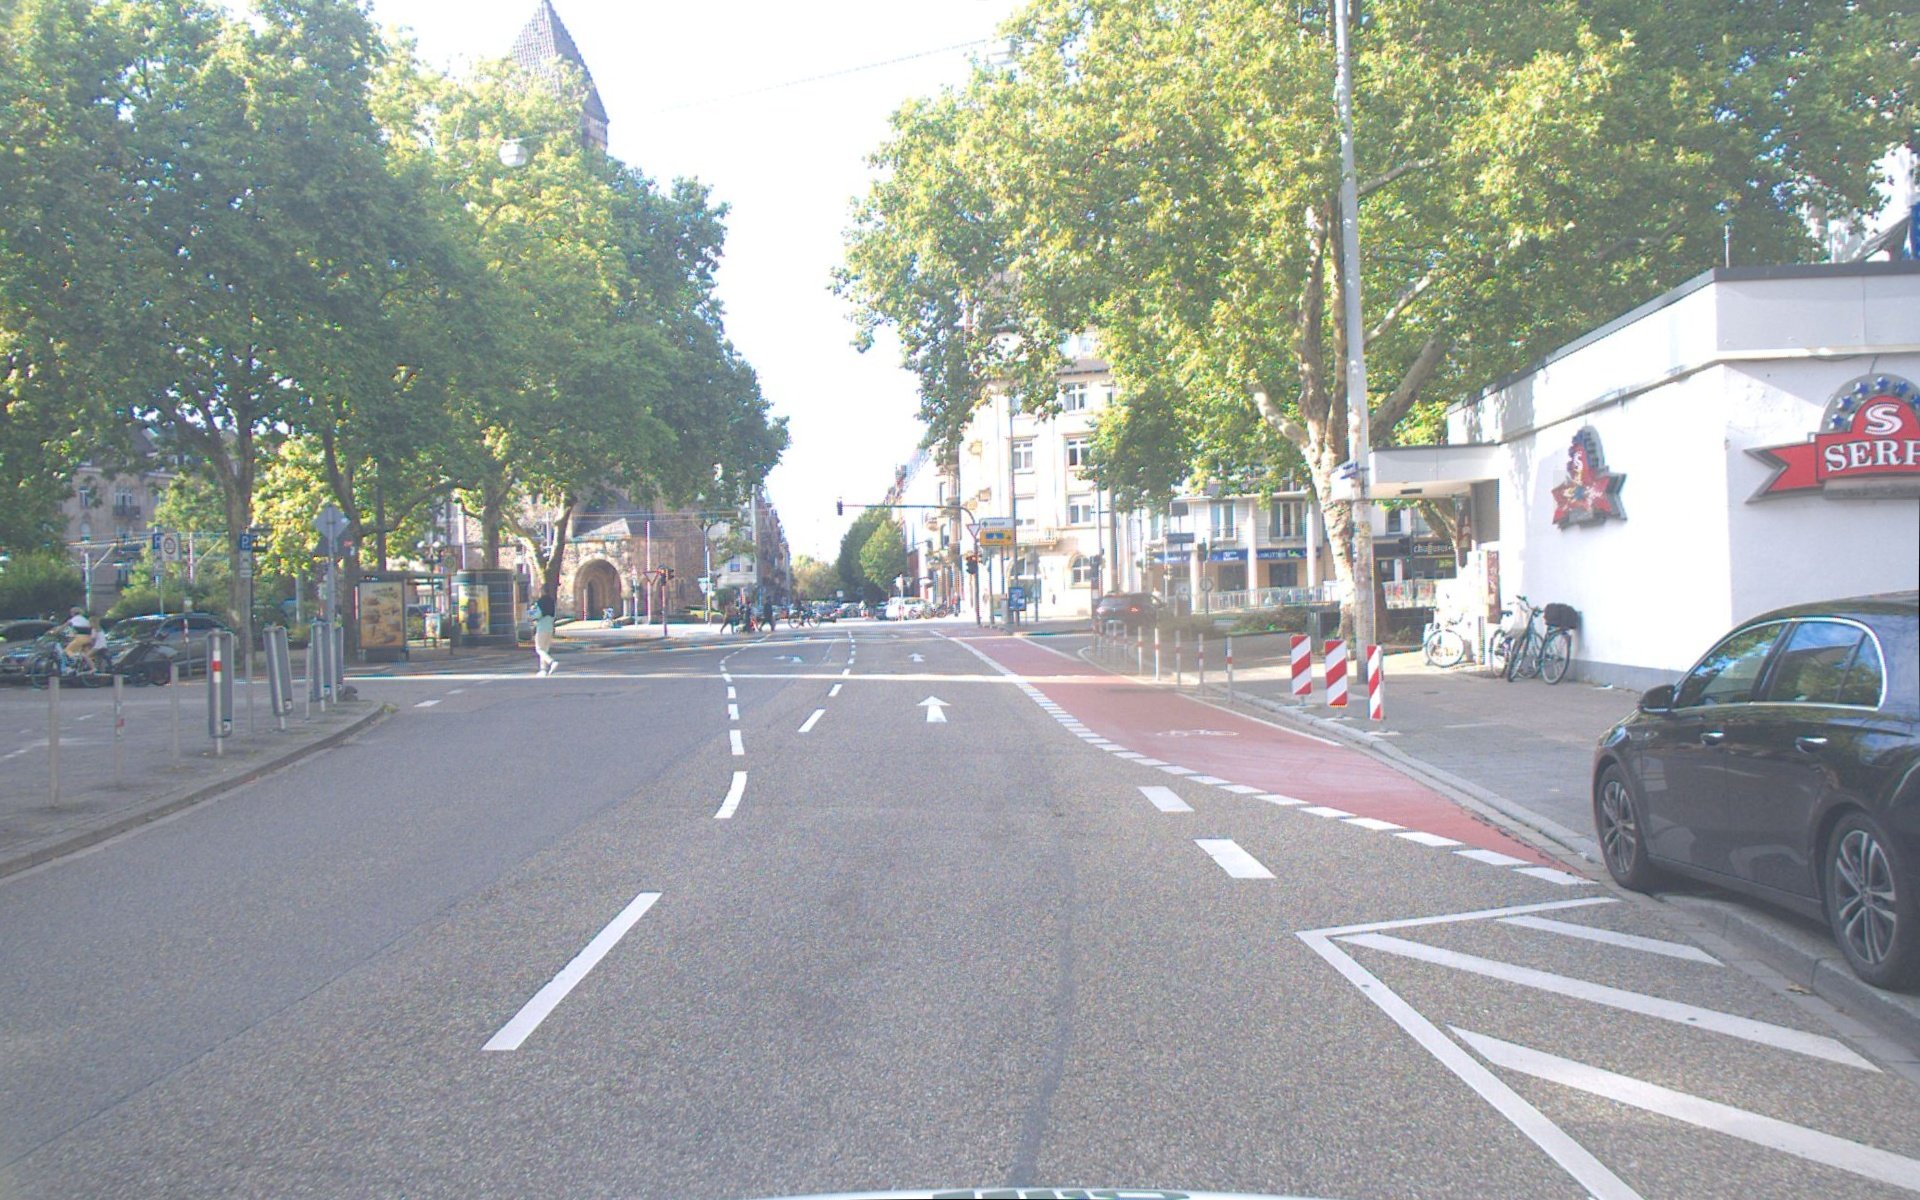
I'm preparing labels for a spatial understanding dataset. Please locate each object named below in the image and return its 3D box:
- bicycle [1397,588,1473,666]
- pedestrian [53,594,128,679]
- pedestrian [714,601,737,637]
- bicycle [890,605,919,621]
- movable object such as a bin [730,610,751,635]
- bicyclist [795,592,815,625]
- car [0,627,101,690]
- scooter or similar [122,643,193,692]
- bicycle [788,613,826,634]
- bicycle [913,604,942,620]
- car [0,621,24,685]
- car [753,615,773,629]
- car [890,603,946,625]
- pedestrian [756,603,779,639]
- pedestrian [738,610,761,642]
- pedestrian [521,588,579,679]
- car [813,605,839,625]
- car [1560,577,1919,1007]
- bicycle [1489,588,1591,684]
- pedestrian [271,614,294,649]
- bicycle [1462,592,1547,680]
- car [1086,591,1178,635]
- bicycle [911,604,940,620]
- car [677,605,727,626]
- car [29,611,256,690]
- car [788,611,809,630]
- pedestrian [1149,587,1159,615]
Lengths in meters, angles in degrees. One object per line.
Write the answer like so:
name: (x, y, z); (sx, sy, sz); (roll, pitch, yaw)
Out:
bicycle: (8.106, 0.463, 28.309); (0.698, 1.226, 1.815); (-5, -1, 1)
pedestrian: (-17.720, 0.743, 33.729); (1.051, 1.683, 0.816); (-1, 0, -2)
pedestrian: (-11.104, 0.913, 78.265); (0.798, 1.657, 0.605); (-2, 0, 20)
bicycle: (-3.970, 0.930, 119.080); (1.988, 1.101, 0.618); (-2, 0, -14)
movable object such as a bin: (-10.353, 1.062, 78.014); (0.820, 1.143, 0.575); (-2, 0, 19)
bicyclist: (-7.647, 0.419, 81.622); (0.762, 1.607, 0.625); (-2, 0, 21)
car: (-23.412, 1.456, 40.102); (1.632, 1.402, 4.841); (-2, 0, 17)
scooter or similar: (-16.323, 1.359, 33.665); (0.989, 0.939, 0.809); (-2, 0, 7)
bicycle: (-7.550, 1.162, 81.579); (1.792, 0.972, 0.573); (-2, 0, 22)
bicycle: (-2.343, 0.886, 119.175); (1.988, 1.101, 0.618); (-2, 0, -14)
car: (-25.902, 1.416, 41.448); (1.643, 1.645, 4.279); (-2, 0, 17)
car: (-18.330, 2.033, 154.080); (1.519, 1.251, 3.586); (-1, 0, -2)
car: (-3.116, 1.009, 121.469); (3.912, 1.445, 1.996); (-2, 0, -8)
pedestrian: (-9.104, 0.997, 78.110); (0.764, 1.691, 0.779); (-2, 0, 18)
pedestrian: (-9.766, 1.192, 76.849); (0.765, 1.457, 0.731); (-2, 0, 20)
pedestrian: (-8.222, 0.660, 33.156); (1.057, 1.784, 0.915); (-1, 0, -17)
car: (-10.431, 1.158, 128.824); (1.911, 1.396, 3.996); (-2, 0, -5)
car: (4.217, 0.640, 7.280); (1.724, 1.436, 4.234); (-3, 0, 3)
bicycle: (7.928, 0.474, 22.677); (0.753, 1.227, 1.816); (-3, 0, 2)
pedestrian: (-26.235, 1.219, 64.040); (0.713, 1.311, 0.810); (1, -1, -30)
bicycle: (8.041, 0.513, 24.501); (0.696, 1.227, 1.771); (-1, 0, 2)
car: (6.000, 0.436, 57.339); (1.718, 1.438, 3.993); (-1, 0, 29)
bicycle: (-2.500, 0.862, 119.810); (1.988, 1.101, 0.628); (-2, 0, -14)
car: (-22.442, 1.338, 144.183); (3.969, 1.624, 1.839); (-2, 0, -44)
car: (-18.961, 1.125, 38.666); (2.186, 1.613, 4.979); (-2, 0, 10)
car: (-17.682, 2.220, 181.416); (1.953, 2.049, 3.999); (-2, 0, -1)
pedestrian: (12.161, 0.074, 103.824); (0.485, 1.744, 0.527); (0, -1, 20)
